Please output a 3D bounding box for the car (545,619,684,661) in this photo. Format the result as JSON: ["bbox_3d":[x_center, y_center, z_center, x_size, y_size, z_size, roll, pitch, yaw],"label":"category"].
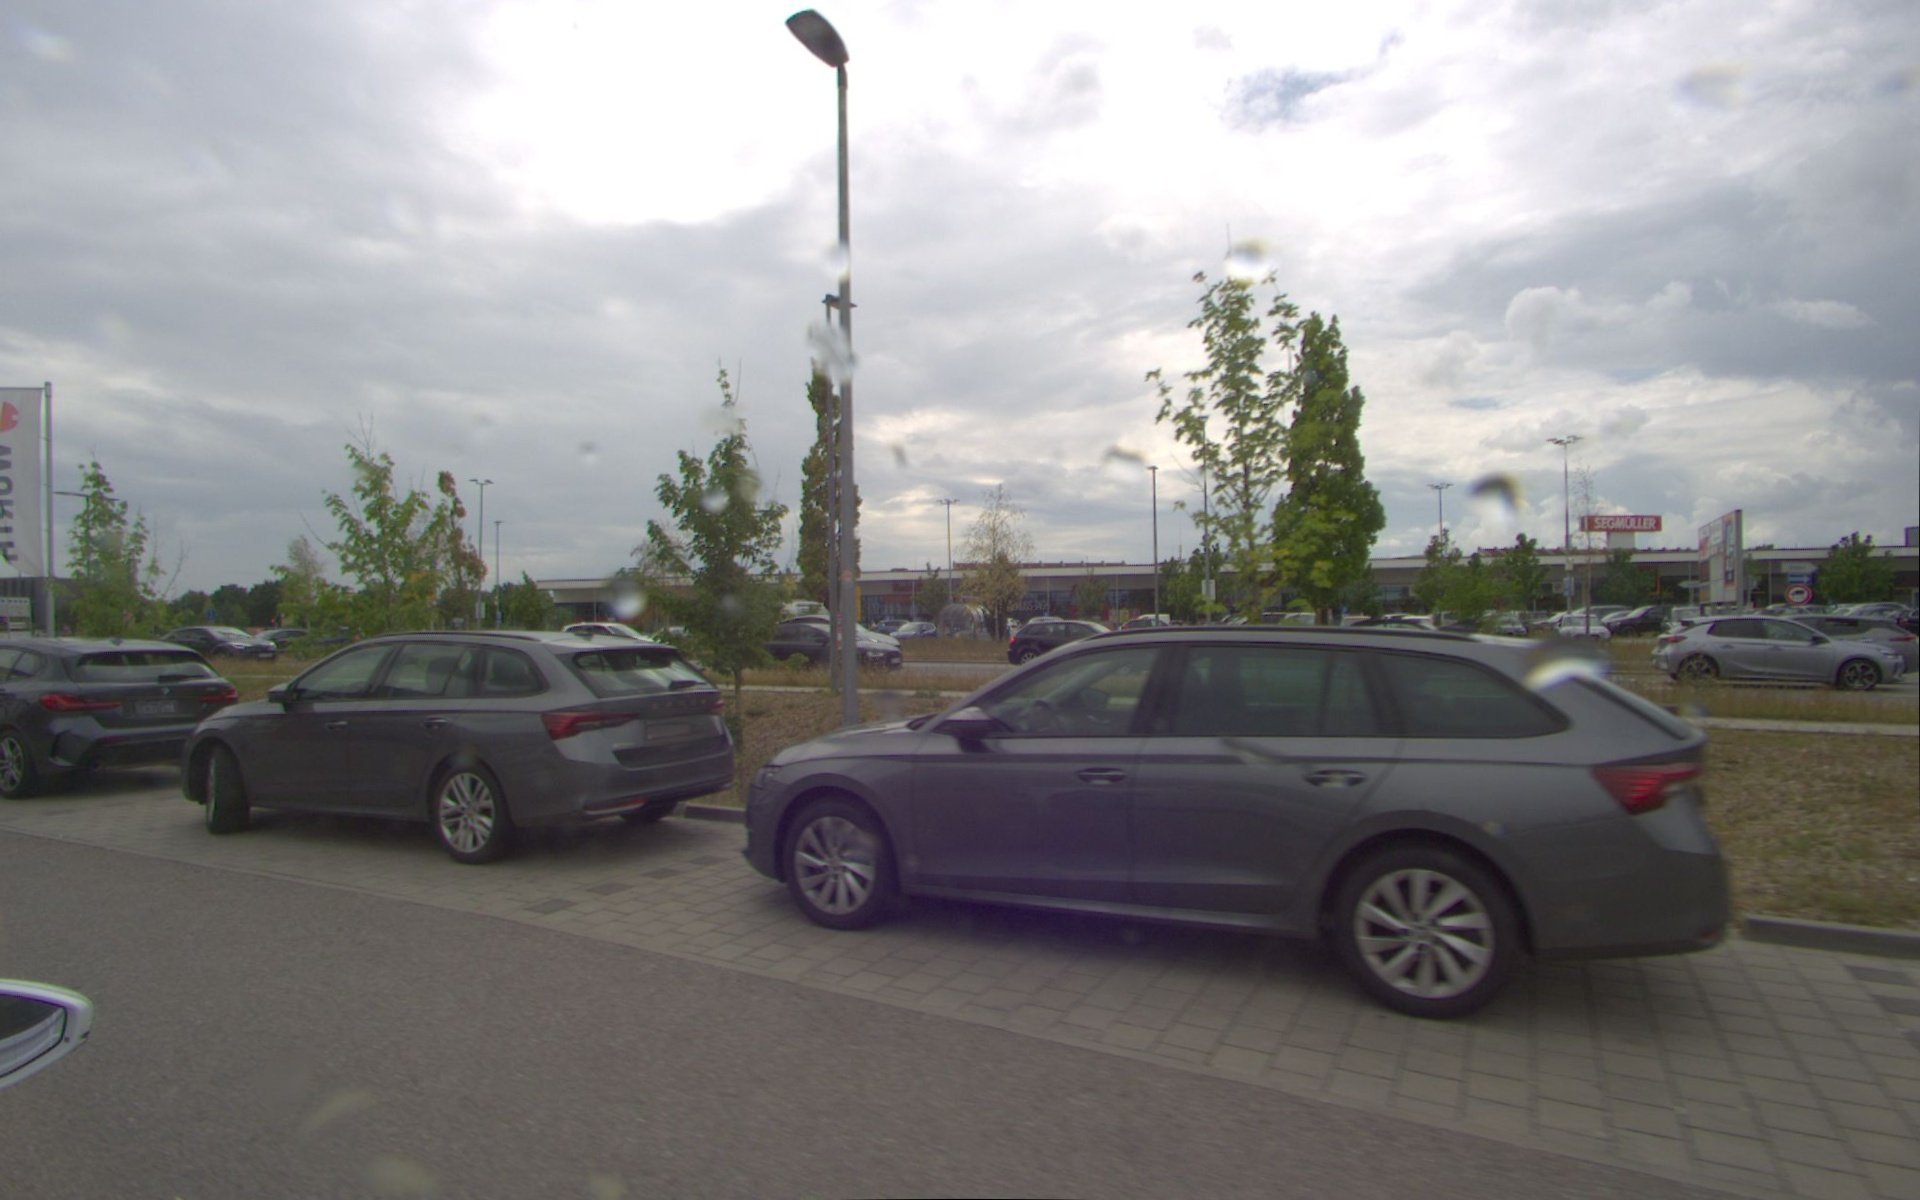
[{"bbox_3d":[-12.106,1.385,35.110,4.477,1.413,1.766,-1,-1,19],"label":"car"}]

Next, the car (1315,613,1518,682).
[{"bbox_3d":[10.738,1.089,23.733,4.216,1.518,1.850,-1,-1,26],"label":"car"}]

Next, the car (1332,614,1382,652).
[{"bbox_3d":[18.039,1.481,45.623,1.874,1.560,4.047,-1,0,18],"label":"car"}]

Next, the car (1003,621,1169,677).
[{"bbox_3d":[3.396,1.281,26.976,4.148,1.413,1.764,-1,-1,23],"label":"car"}]

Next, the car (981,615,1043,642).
[{"bbox_3d":[3.675,1.991,70.733,4.108,1.862,1.998,0,1,13],"label":"car"}]

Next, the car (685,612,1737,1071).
[{"bbox_3d":[0.923,0.842,5.025,4.404,1.488,1.752,-1,-2,26],"label":"car"}]

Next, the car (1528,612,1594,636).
[{"bbox_3d":[48.482,1.902,80.841,4.107,1.862,1.998,-1,1,12],"label":"car"}]

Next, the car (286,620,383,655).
[{"bbox_3d":[-27.476,1.629,43.968,3.854,1.479,1.656,-1,0,22],"label":"car"}]

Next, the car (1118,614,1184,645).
[{"bbox_3d":[12.157,1.870,63.770,4.107,1.862,1.998,-1,1,12],"label":"car"}]

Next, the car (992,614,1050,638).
[{"bbox_3d":[4.666,1.944,75.999,4.108,1.772,1.998,0,1,13],"label":"car"}]

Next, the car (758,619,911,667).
[{"bbox_3d":[-3.943,1.313,31.336,4.482,1.413,1.764,-1,-1,23],"label":"car"}]

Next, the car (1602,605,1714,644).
[{"bbox_3d":[34.837,1.226,50.093,4.107,1.862,1.998,-1,1,12],"label":"car"}]

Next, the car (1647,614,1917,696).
[{"bbox_3d":[16.460,1.054,20.339,3.939,1.479,1.822,-1,0,29],"label":"car"}]

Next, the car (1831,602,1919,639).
[{"bbox_3d":[47.382,1.037,50.991,4.107,1.862,1.998,-1,1,12],"label":"car"}]

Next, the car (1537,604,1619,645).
[{"bbox_3d":[25.326,0.974,41.163,1.965,1.560,4.047,-1,0,18],"label":"car"}]

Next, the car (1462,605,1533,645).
[{"bbox_3d":[22.667,1.013,42.371,1.965,1.560,4.047,-1,0,18],"label":"car"}]

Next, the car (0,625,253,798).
[{"bbox_3d":[-9.425,1.014,10.256,4.039,1.488,1.753,-1,-2,24],"label":"car"}]

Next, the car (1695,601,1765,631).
[{"bbox_3d":[43.642,0.885,56.870,1.965,1.560,4.150,-1,0,20],"label":"car"}]

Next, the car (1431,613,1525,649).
[{"bbox_3d":[27.795,1.640,53.891,4.107,1.862,1.998,-1,1,12],"label":"car"}]

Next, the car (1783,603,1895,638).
[{"bbox_3d":[47.983,1.093,54.741,4.107,1.862,1.998,-1,1,12],"label":"car"}]

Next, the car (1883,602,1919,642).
[{"bbox_3d":[47.615,1.035,48.270,4.107,1.862,1.998,-1,1,12],"label":"car"}]

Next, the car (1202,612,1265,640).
[{"bbox_3d":[18.803,1.767,69.025,4.107,1.862,1.998,-1,1,12],"label":"car"}]

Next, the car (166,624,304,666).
[{"bbox_3d":[-26.005,1.594,35.916,4.477,1.413,1.766,-1,-1,19],"label":"car"}]

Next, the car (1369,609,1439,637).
[{"bbox_3d":[30.962,1.583,69.936,4.107,1.862,1.998,-1,1,12],"label":"car"}]

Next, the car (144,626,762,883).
[{"bbox_3d":[-3.827,0.949,7.512,4.401,1.488,1.753,-1,-2,24],"label":"car"}]

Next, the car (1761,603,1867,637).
[{"bbox_3d":[48.583,1.109,57.071,4.107,1.862,1.998,-1,1,12],"label":"car"}]

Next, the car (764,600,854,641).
[{"bbox_3d":[-8.588,1.128,57.564,2.304,2.150,5.574,-1,0,27],"label":"car"}]

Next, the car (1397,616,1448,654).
[{"bbox_3d":[20.511,1.526,44.518,1.833,1.521,4.062,-1,0,22],"label":"car"}]

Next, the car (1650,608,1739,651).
[{"bbox_3d":[28.887,1.143,39.509,1.741,1.560,3.756,-1,0,18],"label":"car"}]

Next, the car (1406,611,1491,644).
[{"bbox_3d":[28.595,1.626,58.794,4.107,1.862,1.998,-1,1,12],"label":"car"}]

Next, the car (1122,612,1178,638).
[{"bbox_3d":[14.209,1.830,74.776,4.108,1.862,1.998,0,1,13],"label":"car"}]

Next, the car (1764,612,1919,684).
[{"bbox_3d":[20.730,1.052,22.113,4.381,1.510,1.613,1,-1,29],"label":"car"}]
